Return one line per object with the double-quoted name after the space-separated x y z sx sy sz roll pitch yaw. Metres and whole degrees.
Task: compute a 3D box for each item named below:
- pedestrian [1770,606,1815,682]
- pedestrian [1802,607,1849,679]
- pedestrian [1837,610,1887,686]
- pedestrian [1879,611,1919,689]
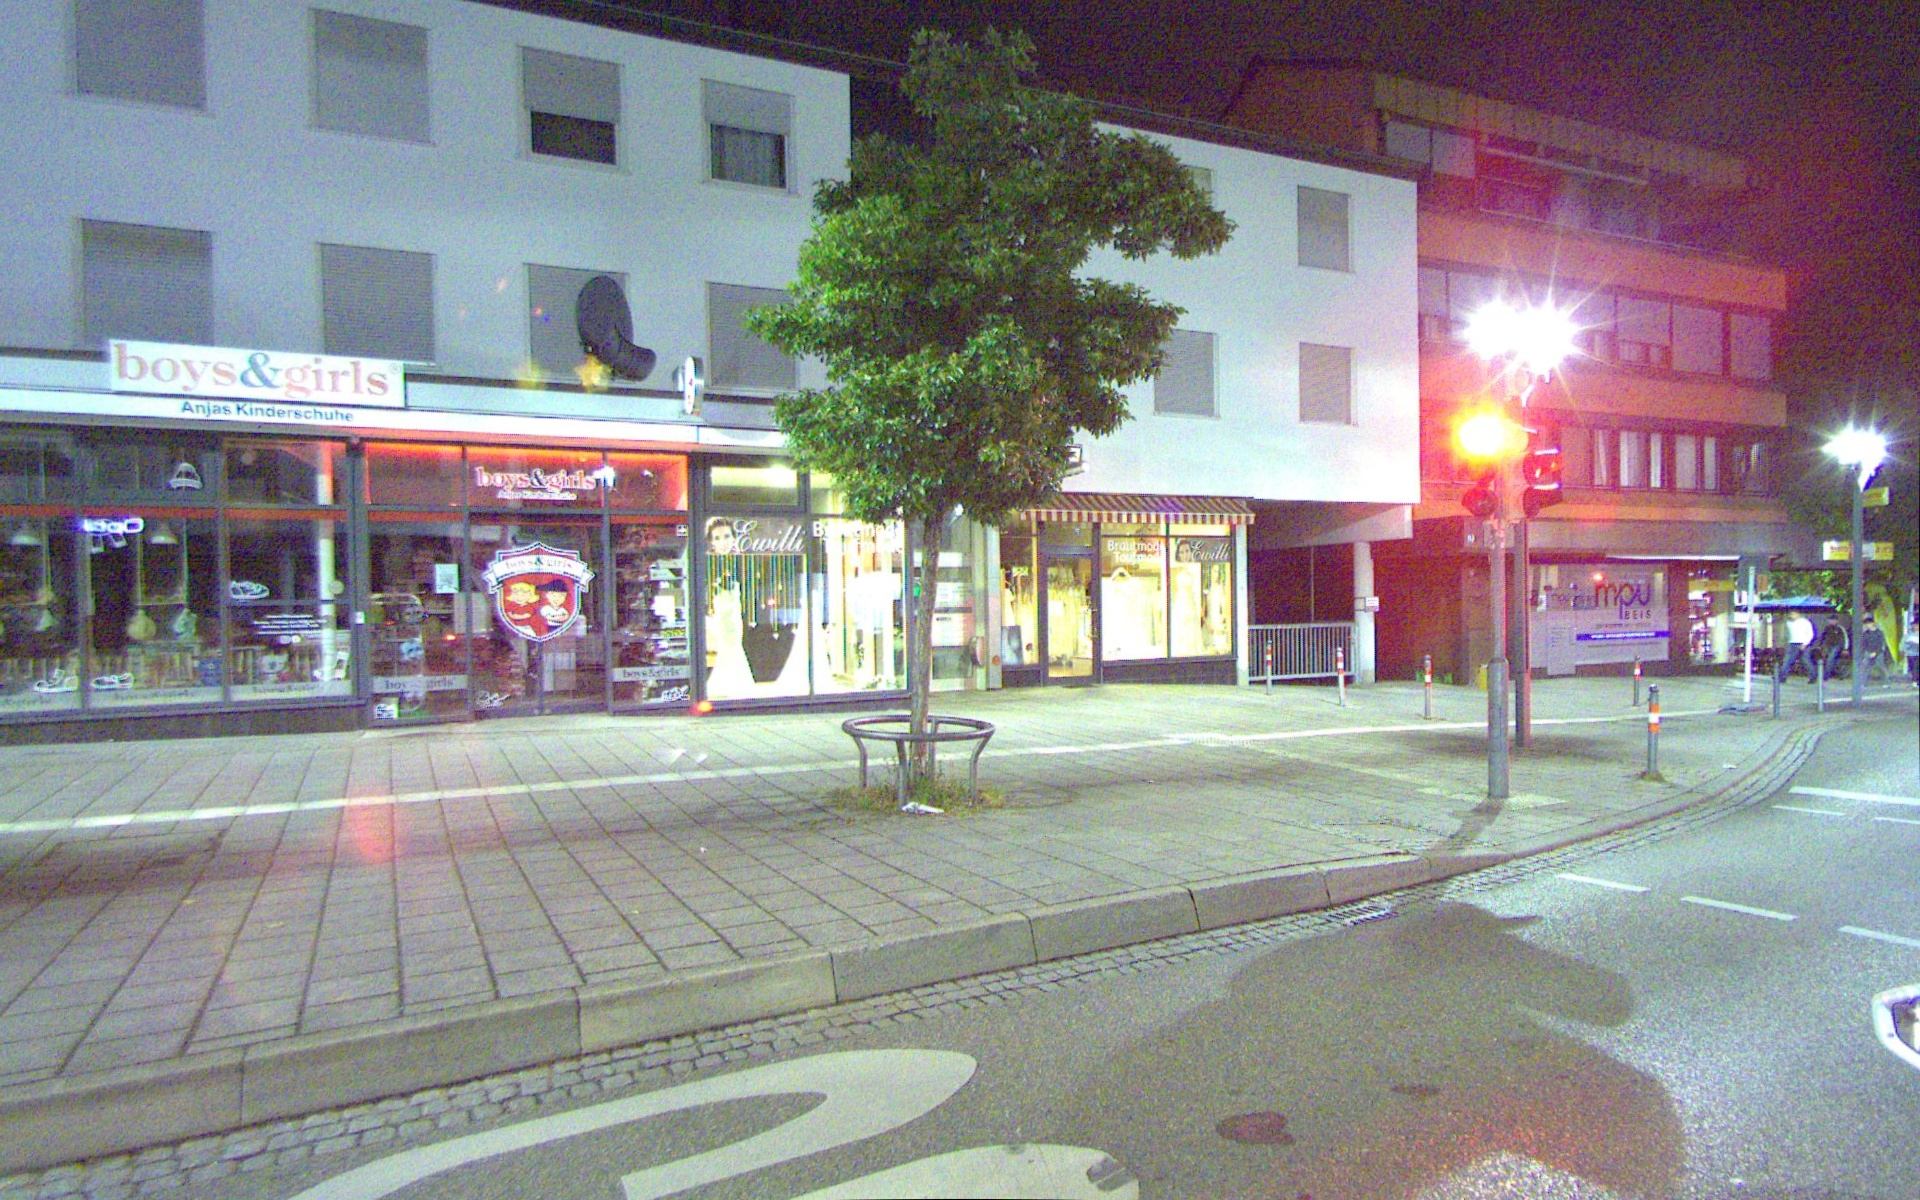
20.530 1.084 24.781 0.564 1.819 0.710 3 -1 -38 "pedestrian"
22.676 1.117 26.325 0.561 1.819 0.714 3 -1 -23 "pedestrian"
22.217 1.172 24.746 0.561 1.819 0.714 3 -1 -23 "pedestrian"
22.704 1.193 24.146 0.561 1.819 0.714 3 -1 -23 "pedestrian"
